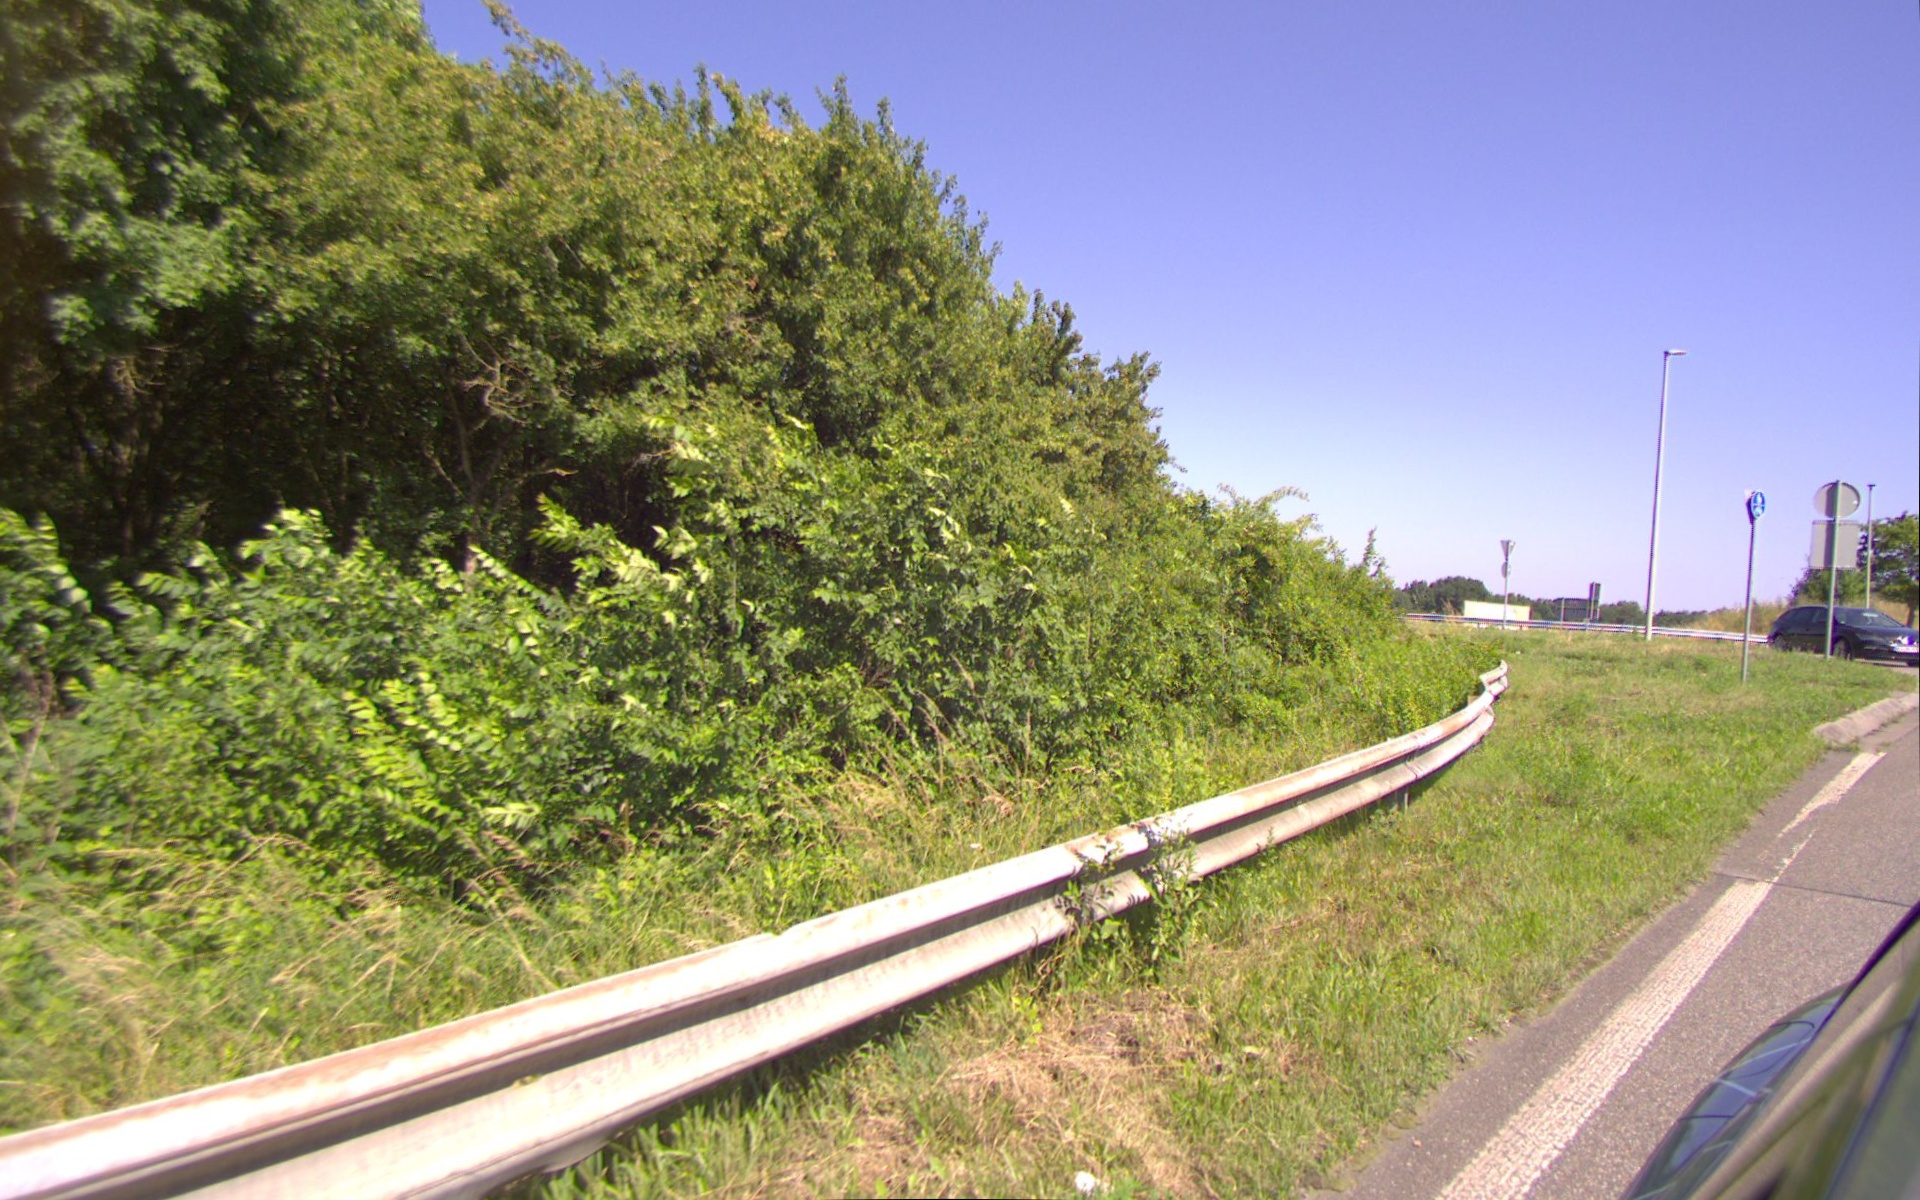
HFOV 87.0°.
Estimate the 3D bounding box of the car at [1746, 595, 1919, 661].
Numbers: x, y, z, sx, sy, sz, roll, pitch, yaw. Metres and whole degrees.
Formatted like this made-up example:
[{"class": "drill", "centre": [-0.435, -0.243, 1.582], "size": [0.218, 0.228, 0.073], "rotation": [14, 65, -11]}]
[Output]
[{"class": "car", "centre": [22.830, 0.675, 26.077], "size": [1.774, 1.415, 4.181], "rotation": [3, 1, 0]}]
